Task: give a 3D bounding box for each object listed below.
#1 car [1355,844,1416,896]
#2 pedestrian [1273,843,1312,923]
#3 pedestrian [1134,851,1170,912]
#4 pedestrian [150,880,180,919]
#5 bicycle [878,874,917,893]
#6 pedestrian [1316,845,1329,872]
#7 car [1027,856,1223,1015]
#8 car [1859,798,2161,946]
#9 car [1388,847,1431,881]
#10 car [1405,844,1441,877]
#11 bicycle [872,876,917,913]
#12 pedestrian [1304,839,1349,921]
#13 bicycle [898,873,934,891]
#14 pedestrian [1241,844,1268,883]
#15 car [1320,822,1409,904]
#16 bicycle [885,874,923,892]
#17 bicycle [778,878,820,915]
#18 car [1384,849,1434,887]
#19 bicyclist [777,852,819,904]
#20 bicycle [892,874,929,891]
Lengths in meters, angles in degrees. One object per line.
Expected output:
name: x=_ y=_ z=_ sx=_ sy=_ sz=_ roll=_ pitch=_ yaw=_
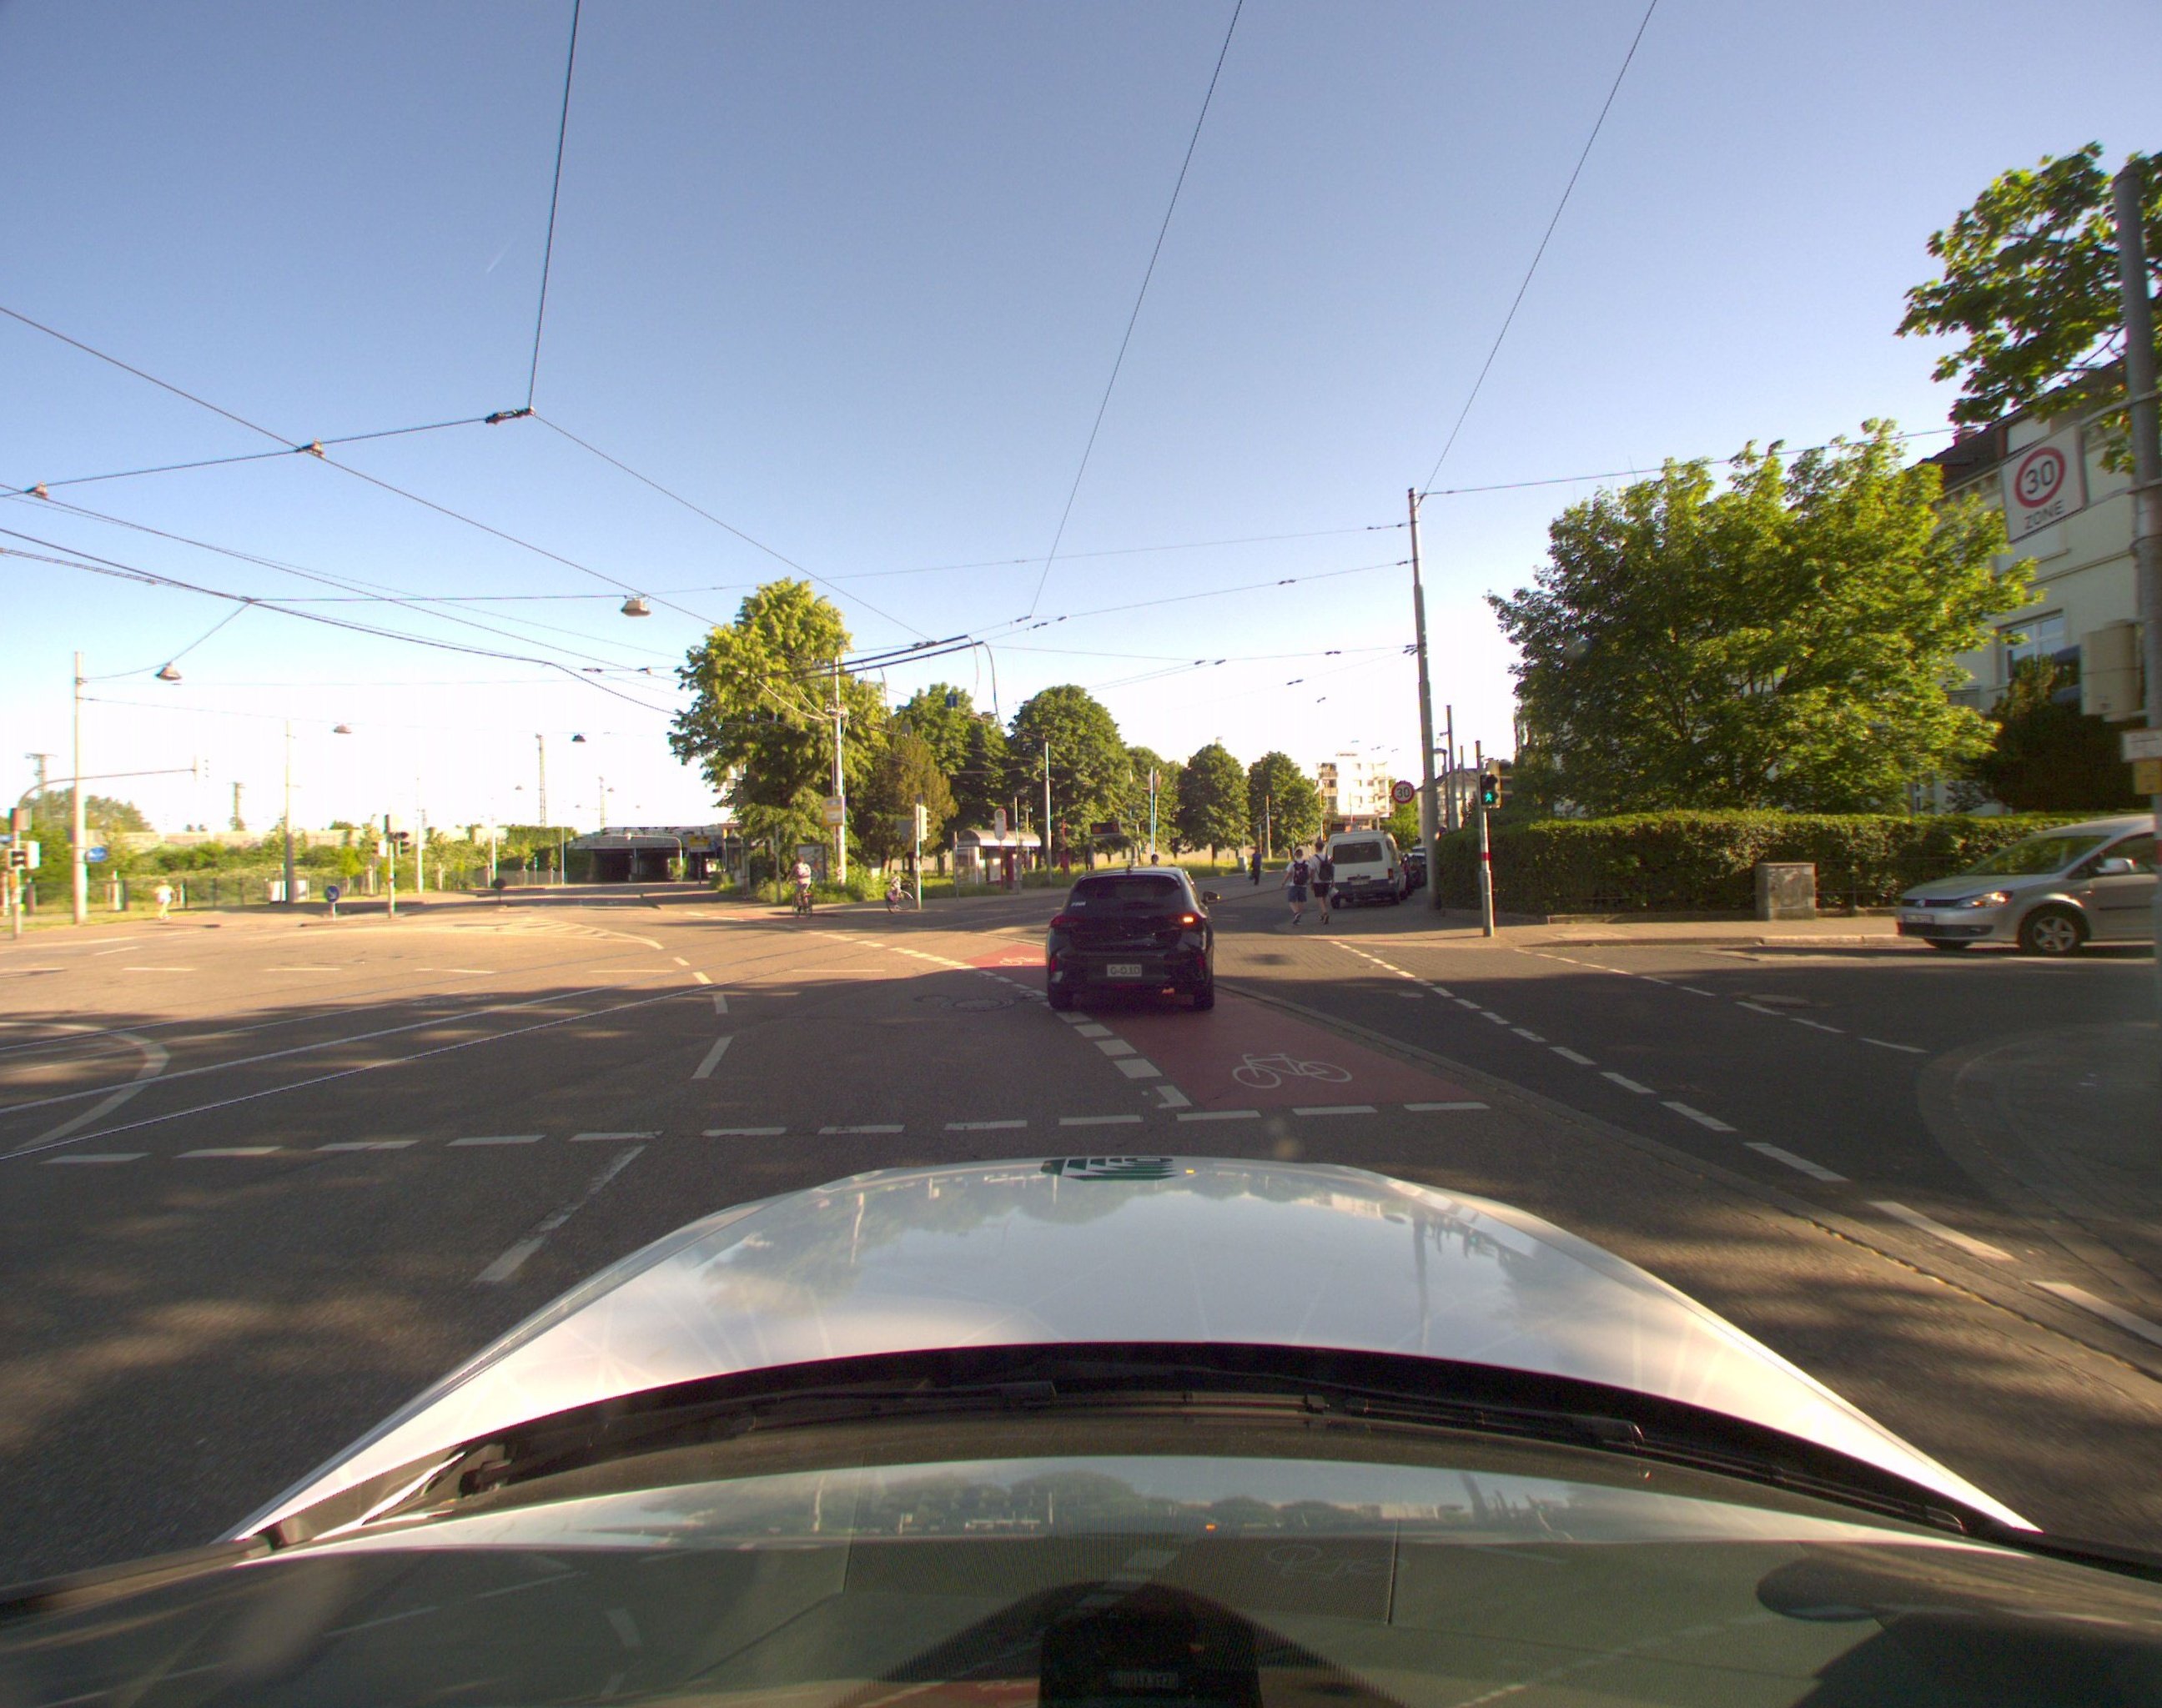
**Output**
car: x=11.286 y=0.540 z=30.015 sx=1.784 sy=1.763 sz=3.913 roll=-2 pitch=0 yaw=24
pedestrian: x=4.860 y=0.659 z=18.774 sx=0.696 sy=1.792 sz=0.617 roll=-2 pitch=-1 yaw=1
pedestrian: x=2.026 y=0.780 z=23.275 sx=0.718 sy=1.693 sz=0.705 roll=-2 pitch=-1 yaw=31
pedestrian: x=-38.844 y=1.921 z=34.547 sx=0.602 sy=1.596 sz=0.679 roll=0 pitch=-2 yaw=-24
bicycle: x=-9.674 y=1.562 z=42.986 sx=1.866 sy=0.906 sz=0.661 roll=-2 pitch=0 yaw=8
pedestrian: x=16.336 y=0.312 z=55.080 sx=0.672 sy=1.793 sz=1.001 roll=-2 pitch=-1 yaw=27
car: x=0.678 y=0.780 z=9.572 sx=1.790 sy=1.441 sz=3.949 roll=-2 pitch=0 yaw=8
car: x=13.695 y=0.246 z=11.056 sx=4.150 sy=1.814 sz=1.811 roll=-2 pitch=-3 yaw=9
car: x=15.858 y=0.451 z=39.202 sx=1.784 sy=1.476 sz=3.962 roll=-2 pitch=0 yaw=23
car: x=21.331 y=0.388 z=50.705 sx=1.784 sy=1.927 sz=3.963 roll=-2 pitch=0 yaw=26
bicycle: x=-5.868 y=1.252 z=25.710 sx=0.821 sy=1.059 sz=1.885 roll=-2 pitch=0 yaw=4
pedestrian: x=5.696 y=0.588 z=18.885 sx=0.696 sy=1.846 sz=0.705 roll=-2 pitch=-1 yaw=41
bicycle: x=-9.288 y=1.577 z=45.807 sx=1.866 sy=0.906 sz=0.661 roll=-2 pitch=0 yaw=8
pedestrian: x=8.143 y=0.424 z=38.124 sx=0.949 sy=1.793 sz=1.001 roll=-2 pitch=-1 yaw=27
car: x=8.782 y=0.292 z=25.005 sx=2.070 sy=2.278 sz=4.331 roll=-1 pitch=-1 yaw=26
bicycle: x=-9.554 y=1.560 z=43.969 sx=1.866 sy=0.906 sz=0.661 roll=-2 pitch=0 yaw=8
bicycle: x=-8.525 y=1.260 z=24.576 sx=0.672 sy=1.059 sz=2.059 roll=-1 pitch=0 yaw=-35
car: x=13.964 y=0.566 z=34.570 sx=1.784 sy=1.476 sz=3.962 roll=-2 pitch=0 yaw=23
bicyclist: x=-8.593 y=0.716 z=24.677 sx=0.846 sy=1.510 sz=1.354 roll=-1 pitch=-1 yaw=-34
bicycle: x=-9.383 y=1.569 z=44.837 sx=1.866 sy=0.906 sz=0.661 roll=-2 pitch=0 yaw=8
